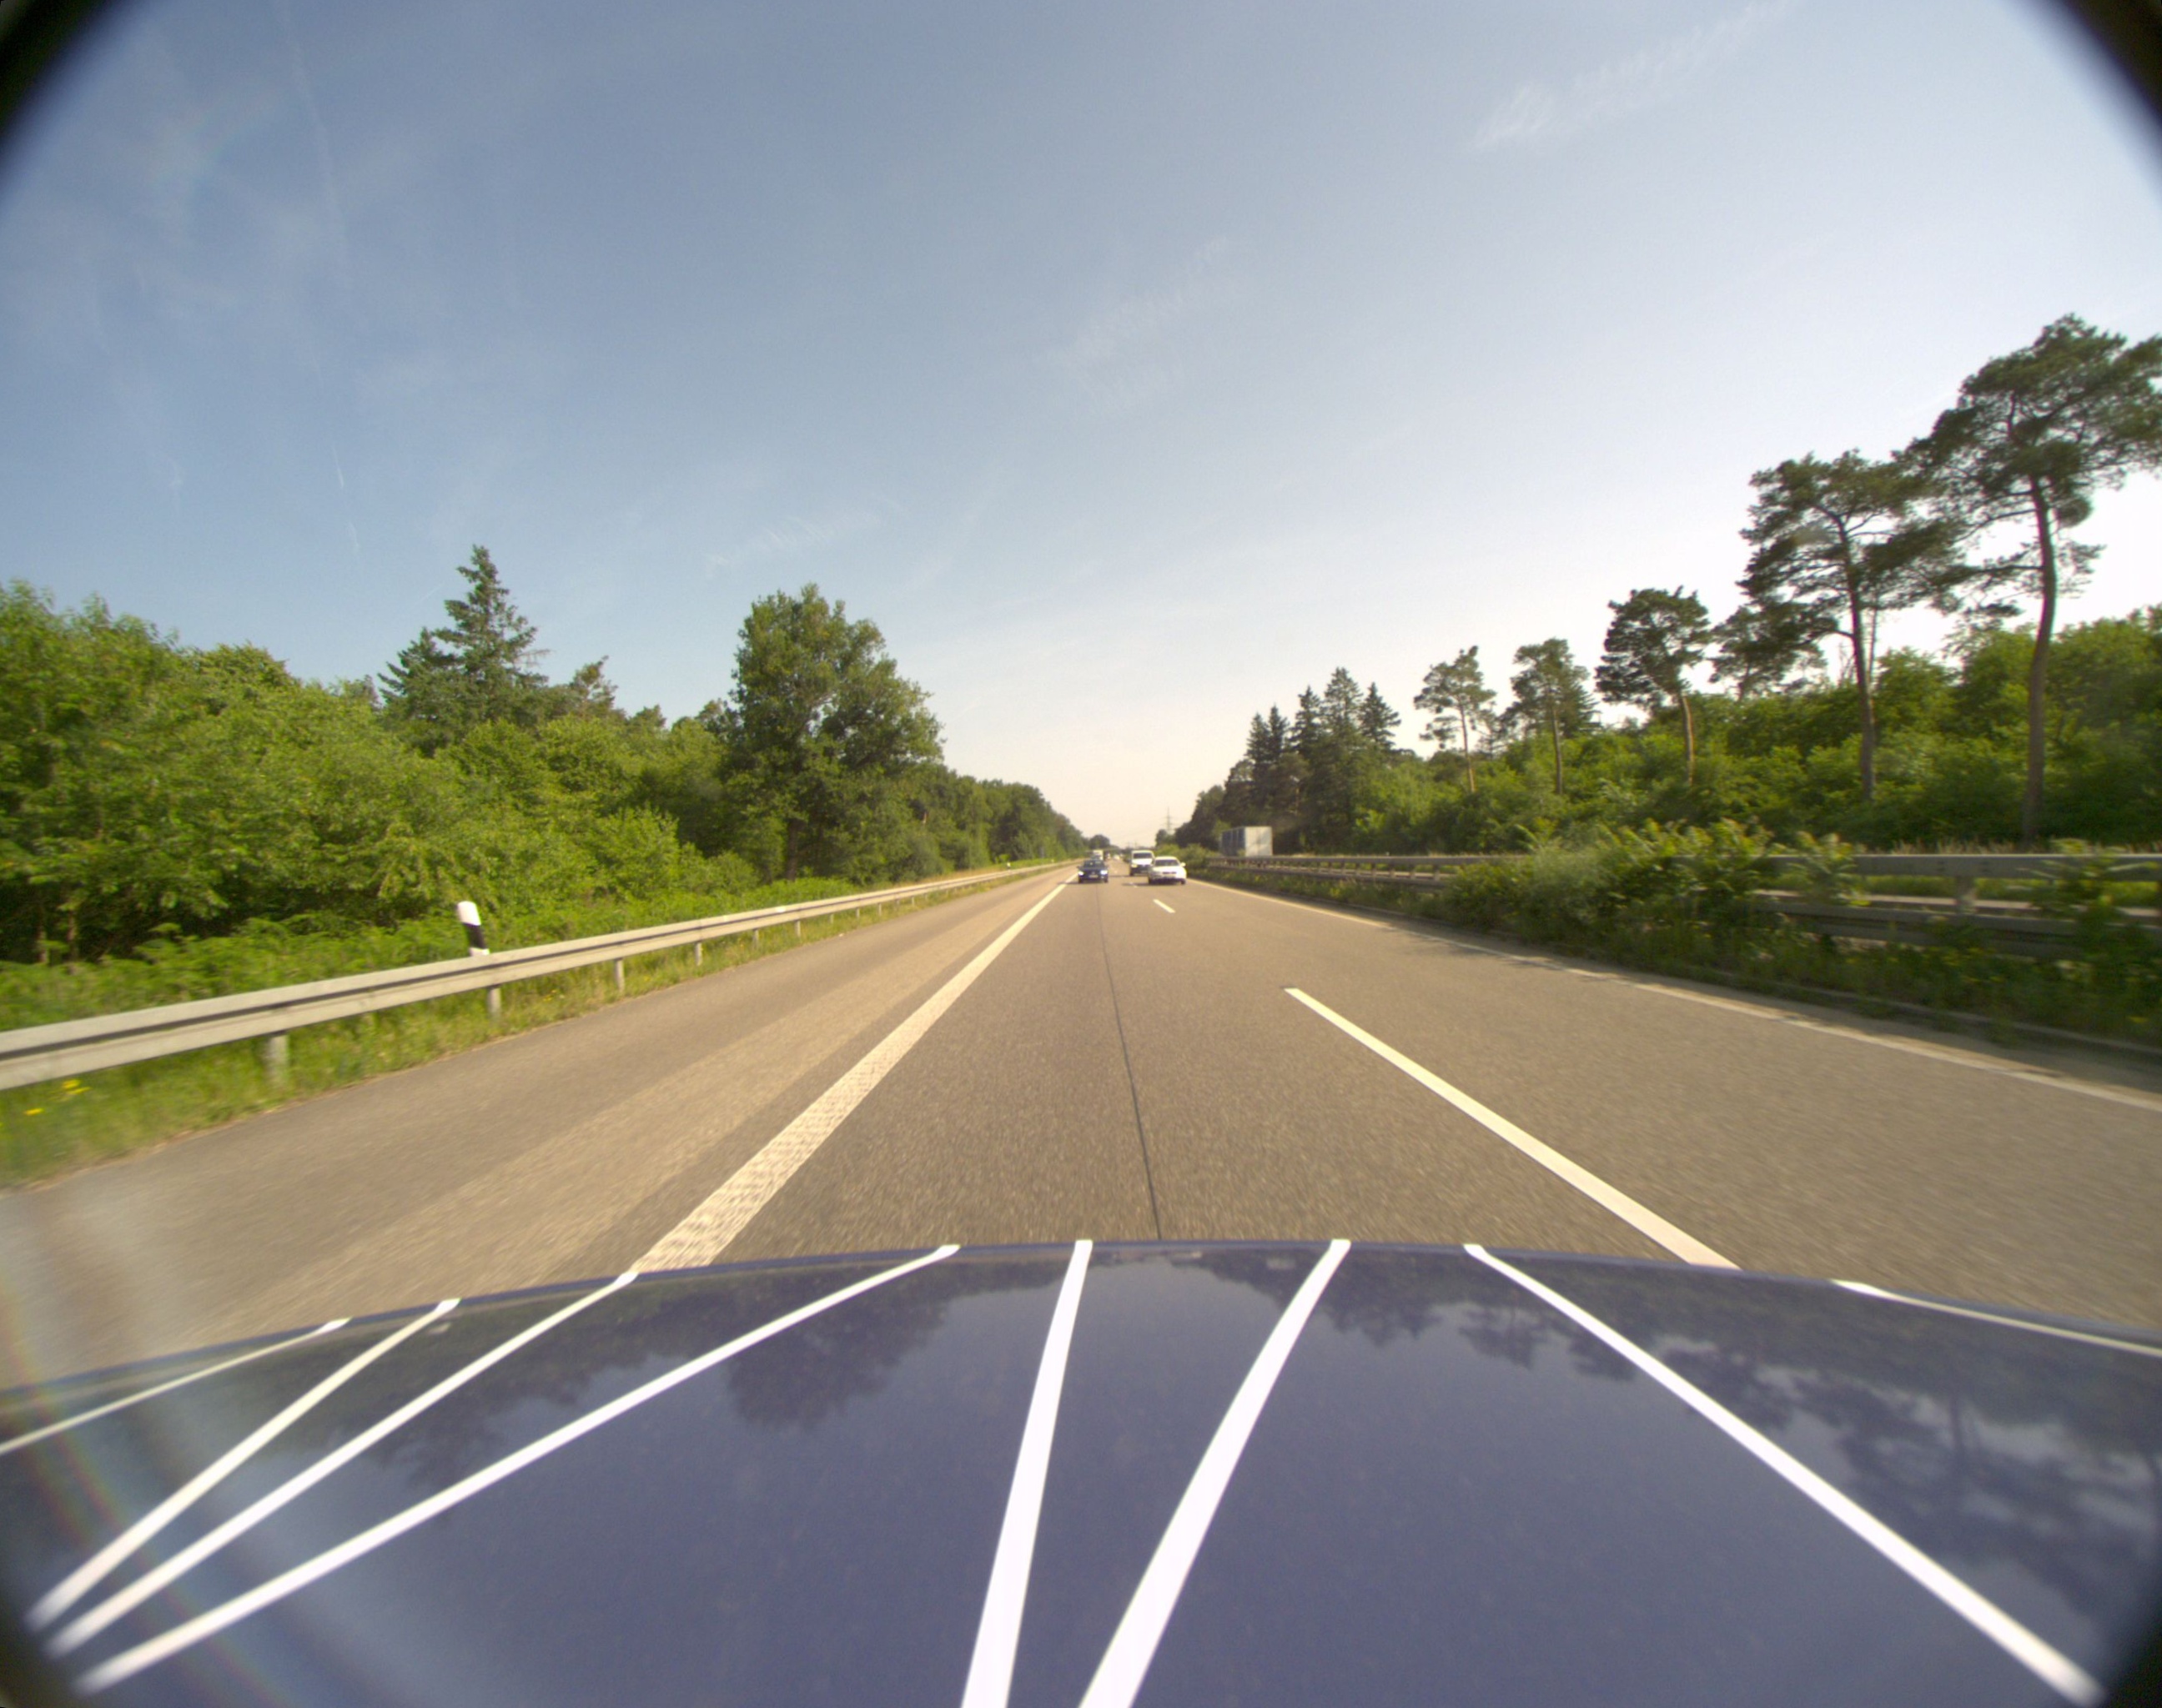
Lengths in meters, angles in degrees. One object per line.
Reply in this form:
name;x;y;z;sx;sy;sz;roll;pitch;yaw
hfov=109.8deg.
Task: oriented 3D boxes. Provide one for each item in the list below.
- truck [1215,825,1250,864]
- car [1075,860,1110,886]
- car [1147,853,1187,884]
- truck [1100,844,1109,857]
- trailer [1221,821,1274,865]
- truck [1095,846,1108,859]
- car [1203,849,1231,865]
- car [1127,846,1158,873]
truck;17.056;-1.077;86.096;2.716;4.176;6.293;-1;0;1
car;0.637;0.990;40.983;1.789;1.285;3.539;-2;0;2
car;4.548;0.737;40.808;1.754;1.477;5.264;-2;0;3
truck;7.382;-1.043;239.710;2.695;4.061;12.364;-2;0;0
trailer;16.947;-1.068;78.421;2.698;4.176;13.080;-1;0;1
truck;4.943;-0.462;185.112;2.694;3.020;10.371;-2;0;1
car;12.822;0.255;71.787;1.708;1.441;4.582;-3;0;0
car;4.706;0.420;58.685;1.912;1.934;4.706;-2;0;0
